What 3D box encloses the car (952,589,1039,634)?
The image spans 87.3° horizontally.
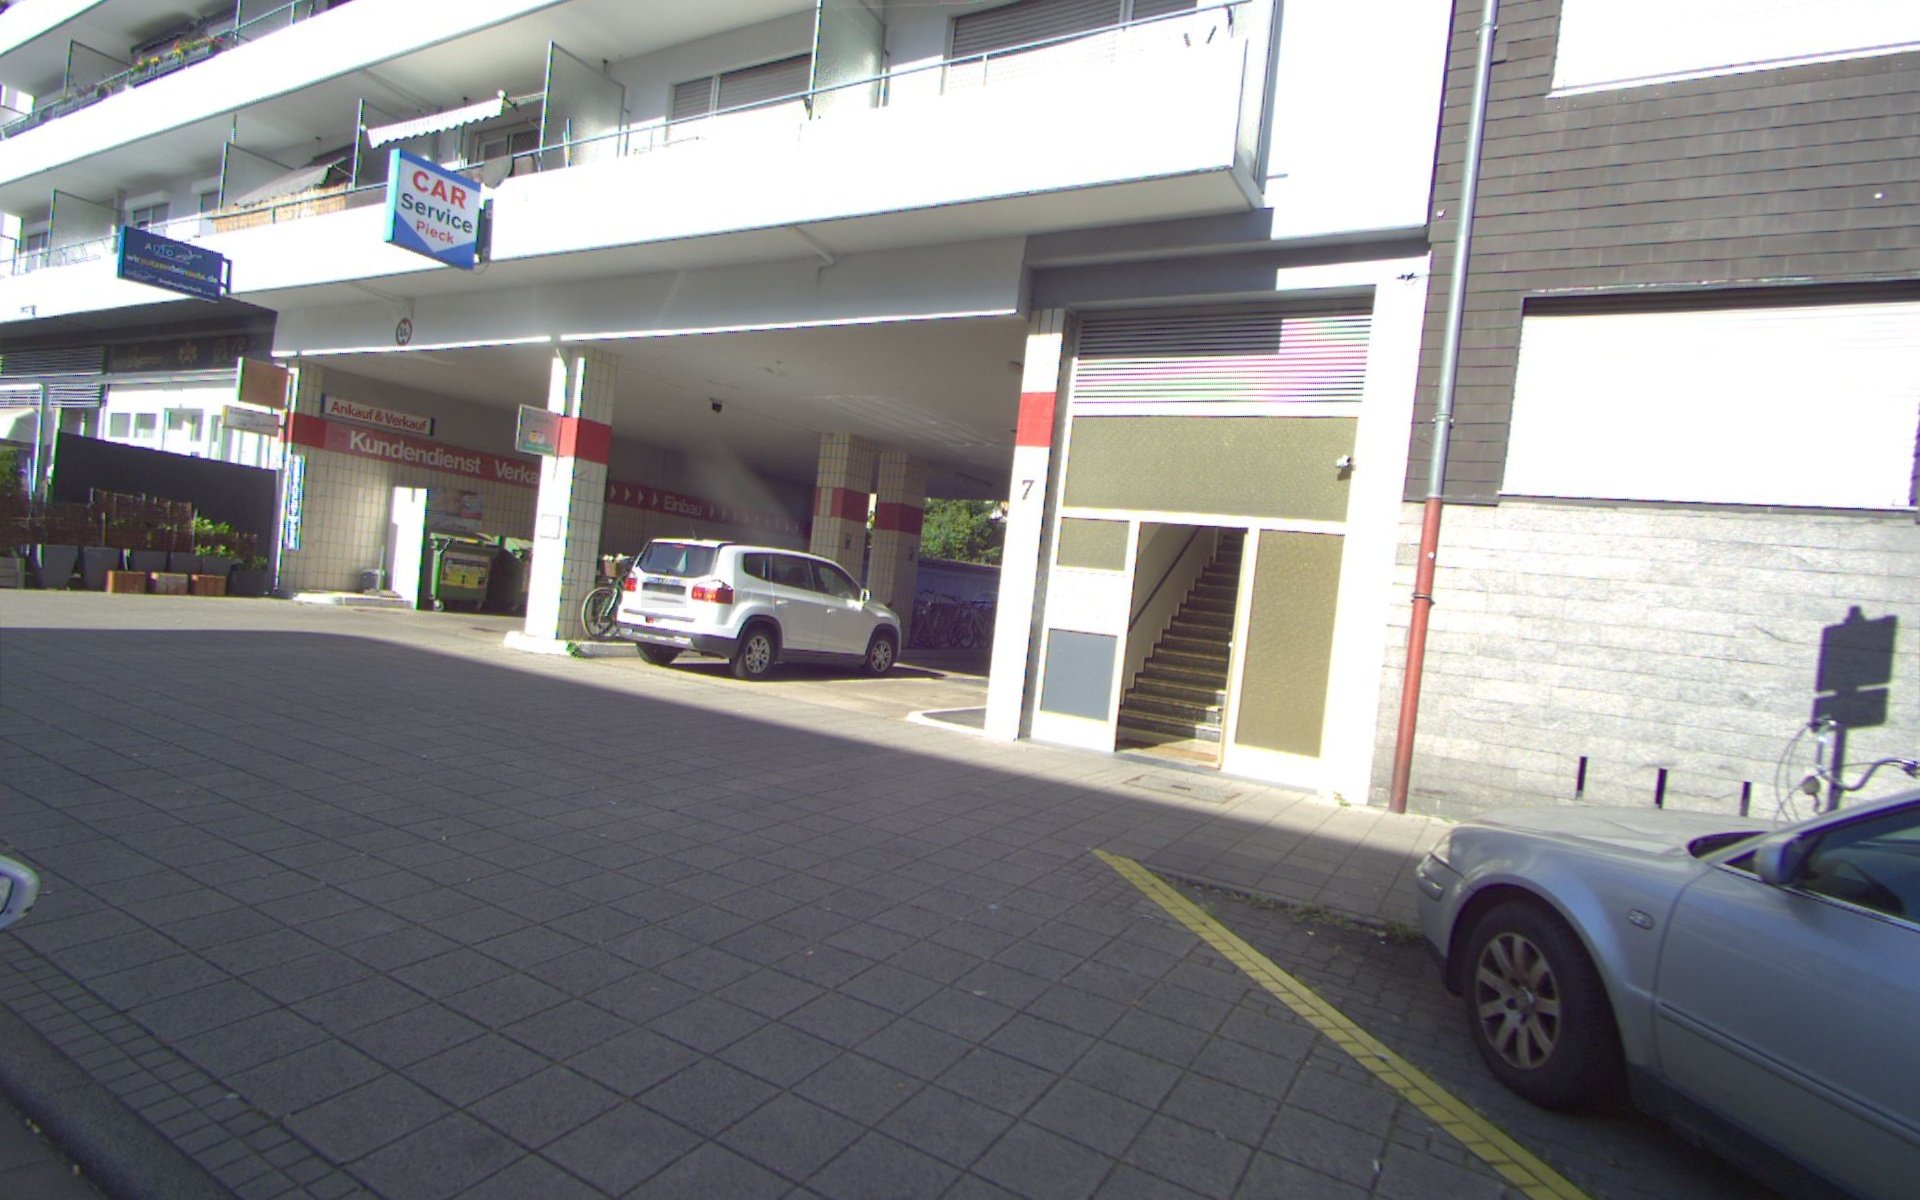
[{"bbox_3d":[1.595,0.519,43.858,1.968,1.593,3.990,4,-2,33],"label":"car"}]

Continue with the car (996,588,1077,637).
[{"bbox_3d":[3.057,0.515,39.802,1.719,1.593,3.356,4,-2,33],"label":"car"}]

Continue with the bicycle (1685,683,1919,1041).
[{"bbox_3d":[4.219,1.124,3.745,0.699,1.269,2.242,7,1,-32],"label":"bicycle"}]

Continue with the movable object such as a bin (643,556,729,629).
[{"bbox_3d":[-6.330,-0.175,23.266,1.221,1.524,1.327,4,-1,31],"label":"movable object such as a bin"}]

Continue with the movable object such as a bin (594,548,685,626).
[{"bbox_3d":[-7.012,-0.274,22.032,1.221,1.524,1.327,4,-1,31],"label":"movable object such as a bin"}]

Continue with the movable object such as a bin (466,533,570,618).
[{"bbox_3d":[-8.551,-0.461,19.495,1.143,1.484,1.332,4,-1,31],"label":"movable object such as a bin"}]

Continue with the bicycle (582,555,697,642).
[{"bbox_3d":[-4.512,0.002,14.257,0.459,1.090,1.568,4,-1,30],"label":"bicycle"}]

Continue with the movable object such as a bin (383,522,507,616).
[{"bbox_3d":[-9.309,-0.540,18.236,1.243,1.518,1.464,4,-1,30],"label":"movable object such as a bin"}]

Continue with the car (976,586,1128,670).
[{"bbox_3d":[2.072,0.649,21.550,1.706,1.494,3.994,4,-2,29],"label":"car"}]

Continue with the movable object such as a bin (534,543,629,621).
[{"bbox_3d":[-7.791,-0.358,20.734,1.166,1.437,1.292,4,-1,32],"label":"movable object such as a bin"}]

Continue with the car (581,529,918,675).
[{"bbox_3d":[-2.611,0.096,13.599,1.946,1.531,4.396,6,0,30],"label":"car"}]

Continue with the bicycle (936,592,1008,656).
[{"bbox_3d":[0.302,0.571,22.811,0.562,1.249,2.088,4,-3,32],"label":"bicycle"}]

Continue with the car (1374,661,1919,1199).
[{"bbox_3d":[3.000,1.103,1.908,1.663,1.484,4.635,5,0,-12],"label":"car"}]
